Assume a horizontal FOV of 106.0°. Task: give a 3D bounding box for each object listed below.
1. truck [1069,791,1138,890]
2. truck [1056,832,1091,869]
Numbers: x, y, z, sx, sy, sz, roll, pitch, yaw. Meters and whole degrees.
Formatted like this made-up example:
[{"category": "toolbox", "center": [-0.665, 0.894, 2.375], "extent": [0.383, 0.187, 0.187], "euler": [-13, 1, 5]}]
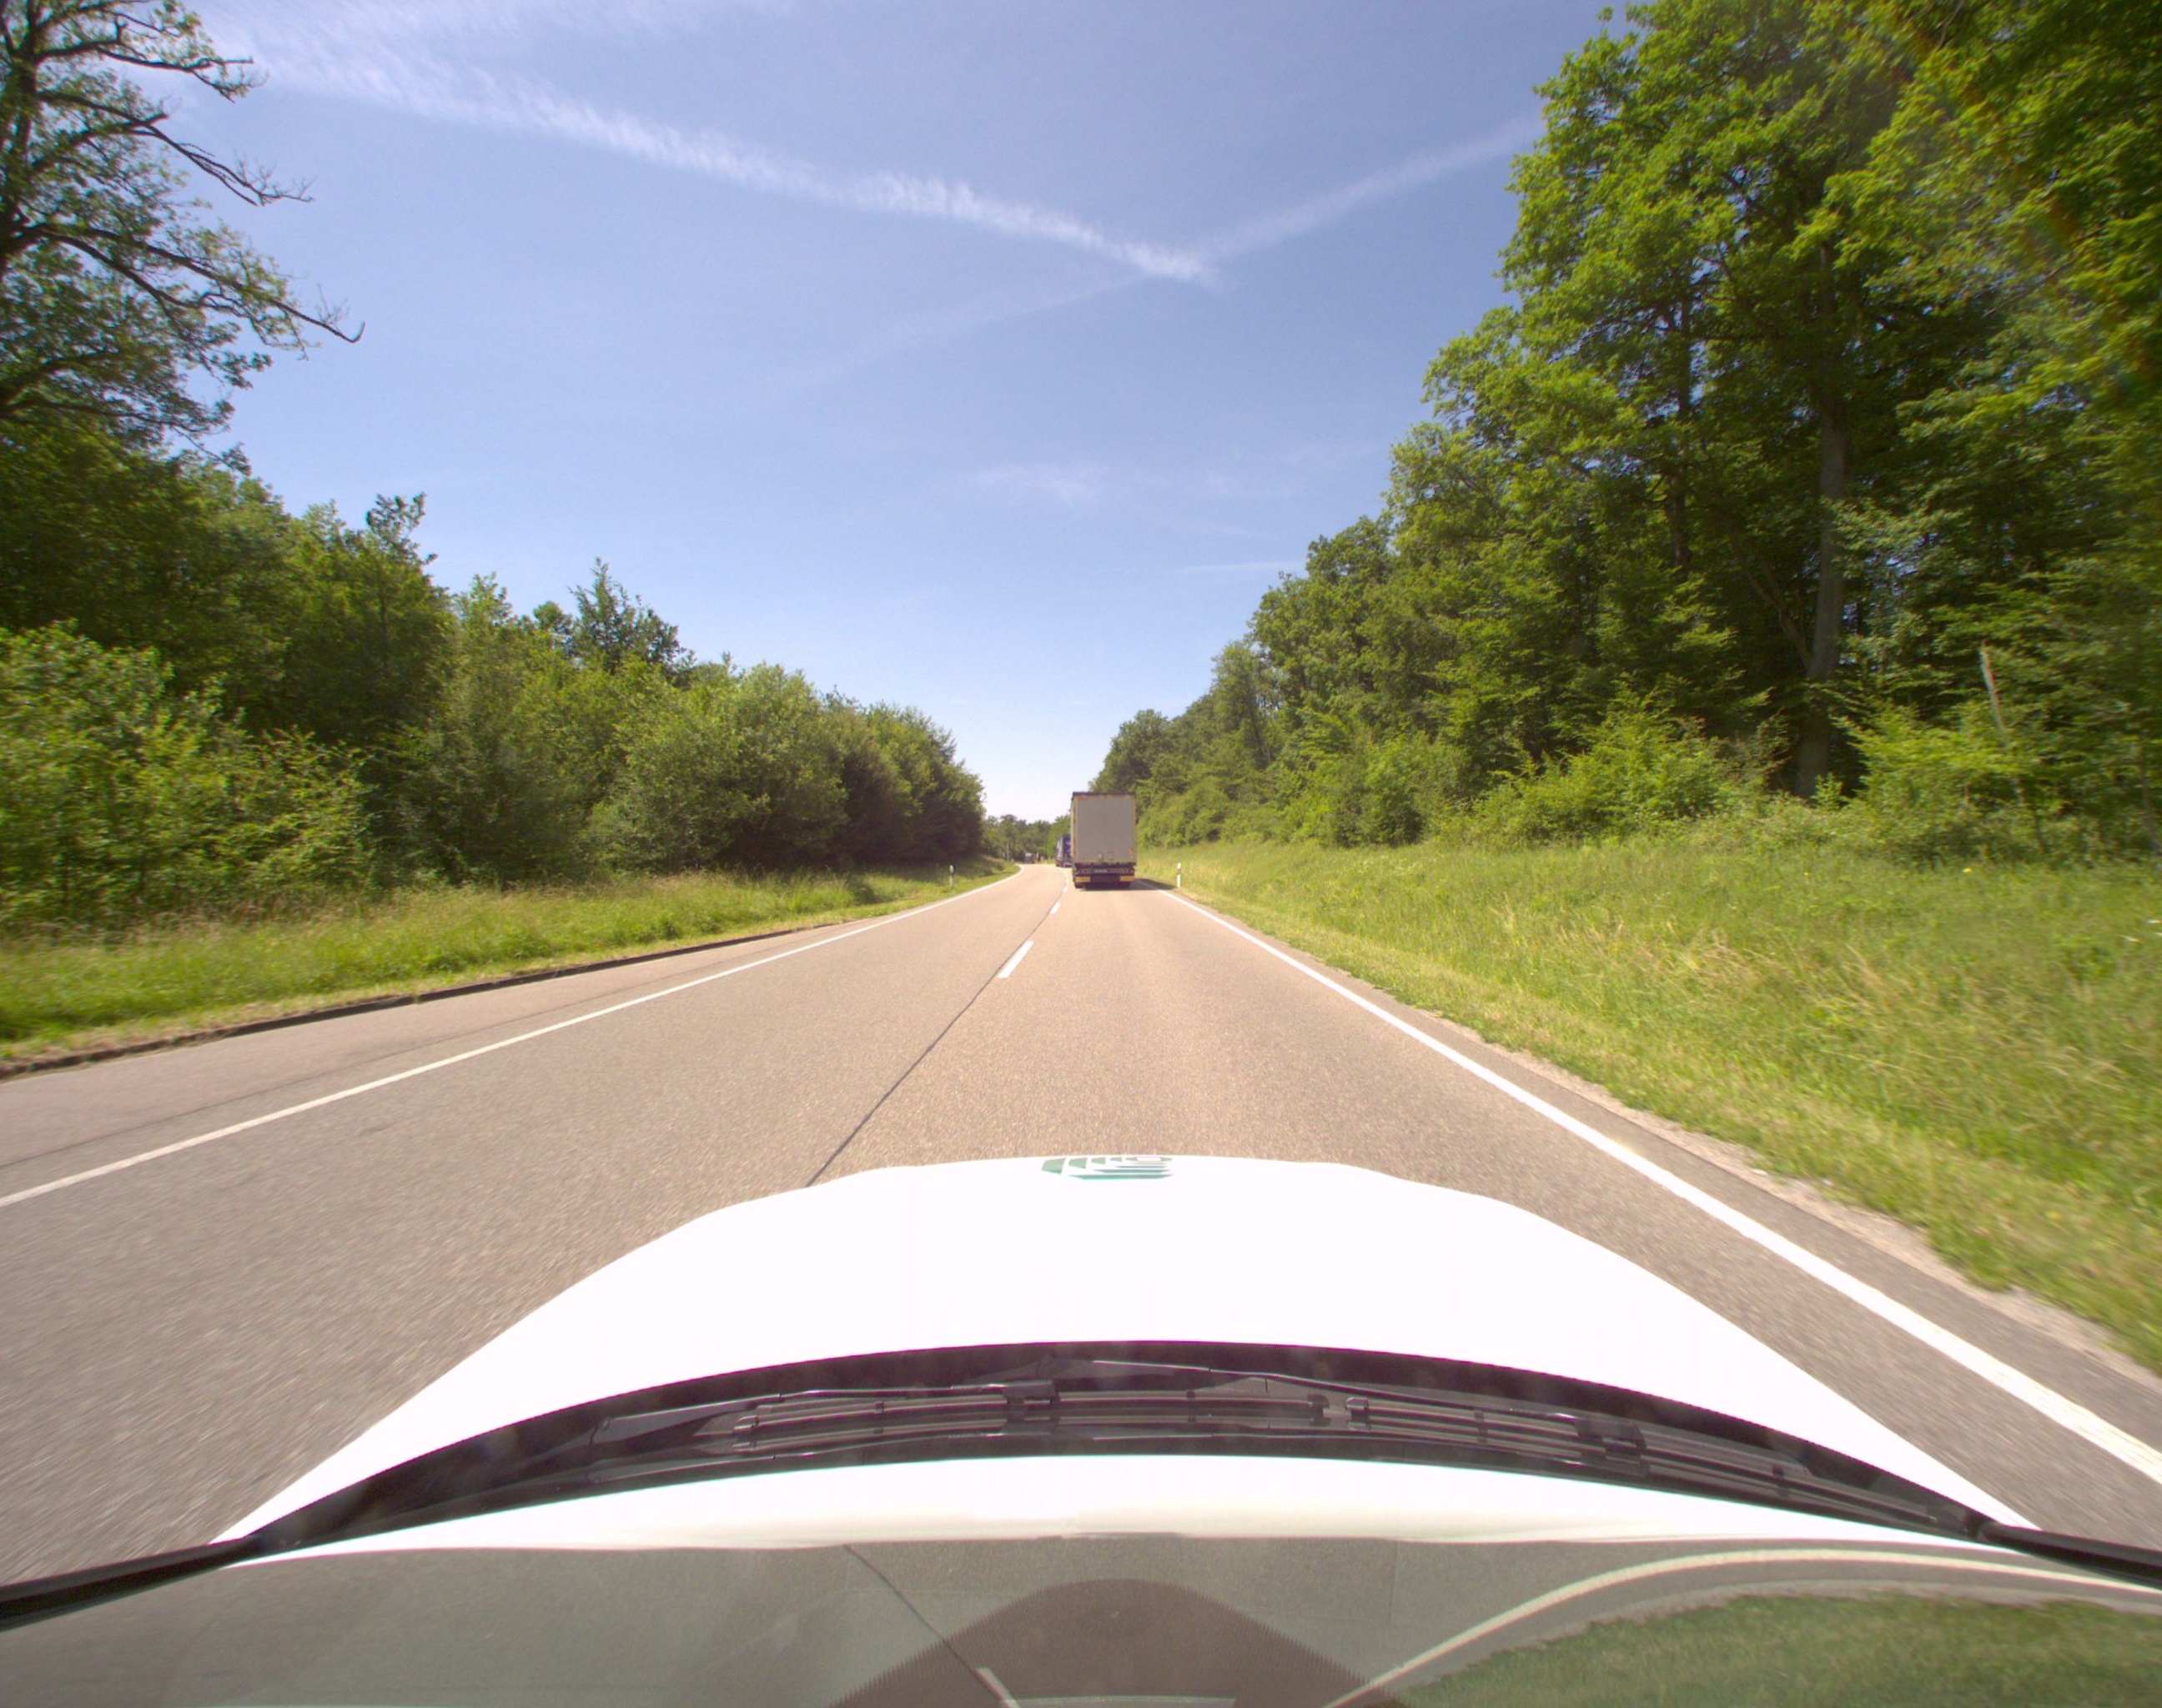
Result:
[{"category": "truck", "center": [0.892, -0.541, 38.734], "extent": [2.752, 3.947, 12.194], "euler": [0, 0, 0]}, {"category": "truck", "center": [-1.141, -0.416, 102.942], "extent": [3.785, 4.373, 14.903], "euler": [0, 0, -3]}]
